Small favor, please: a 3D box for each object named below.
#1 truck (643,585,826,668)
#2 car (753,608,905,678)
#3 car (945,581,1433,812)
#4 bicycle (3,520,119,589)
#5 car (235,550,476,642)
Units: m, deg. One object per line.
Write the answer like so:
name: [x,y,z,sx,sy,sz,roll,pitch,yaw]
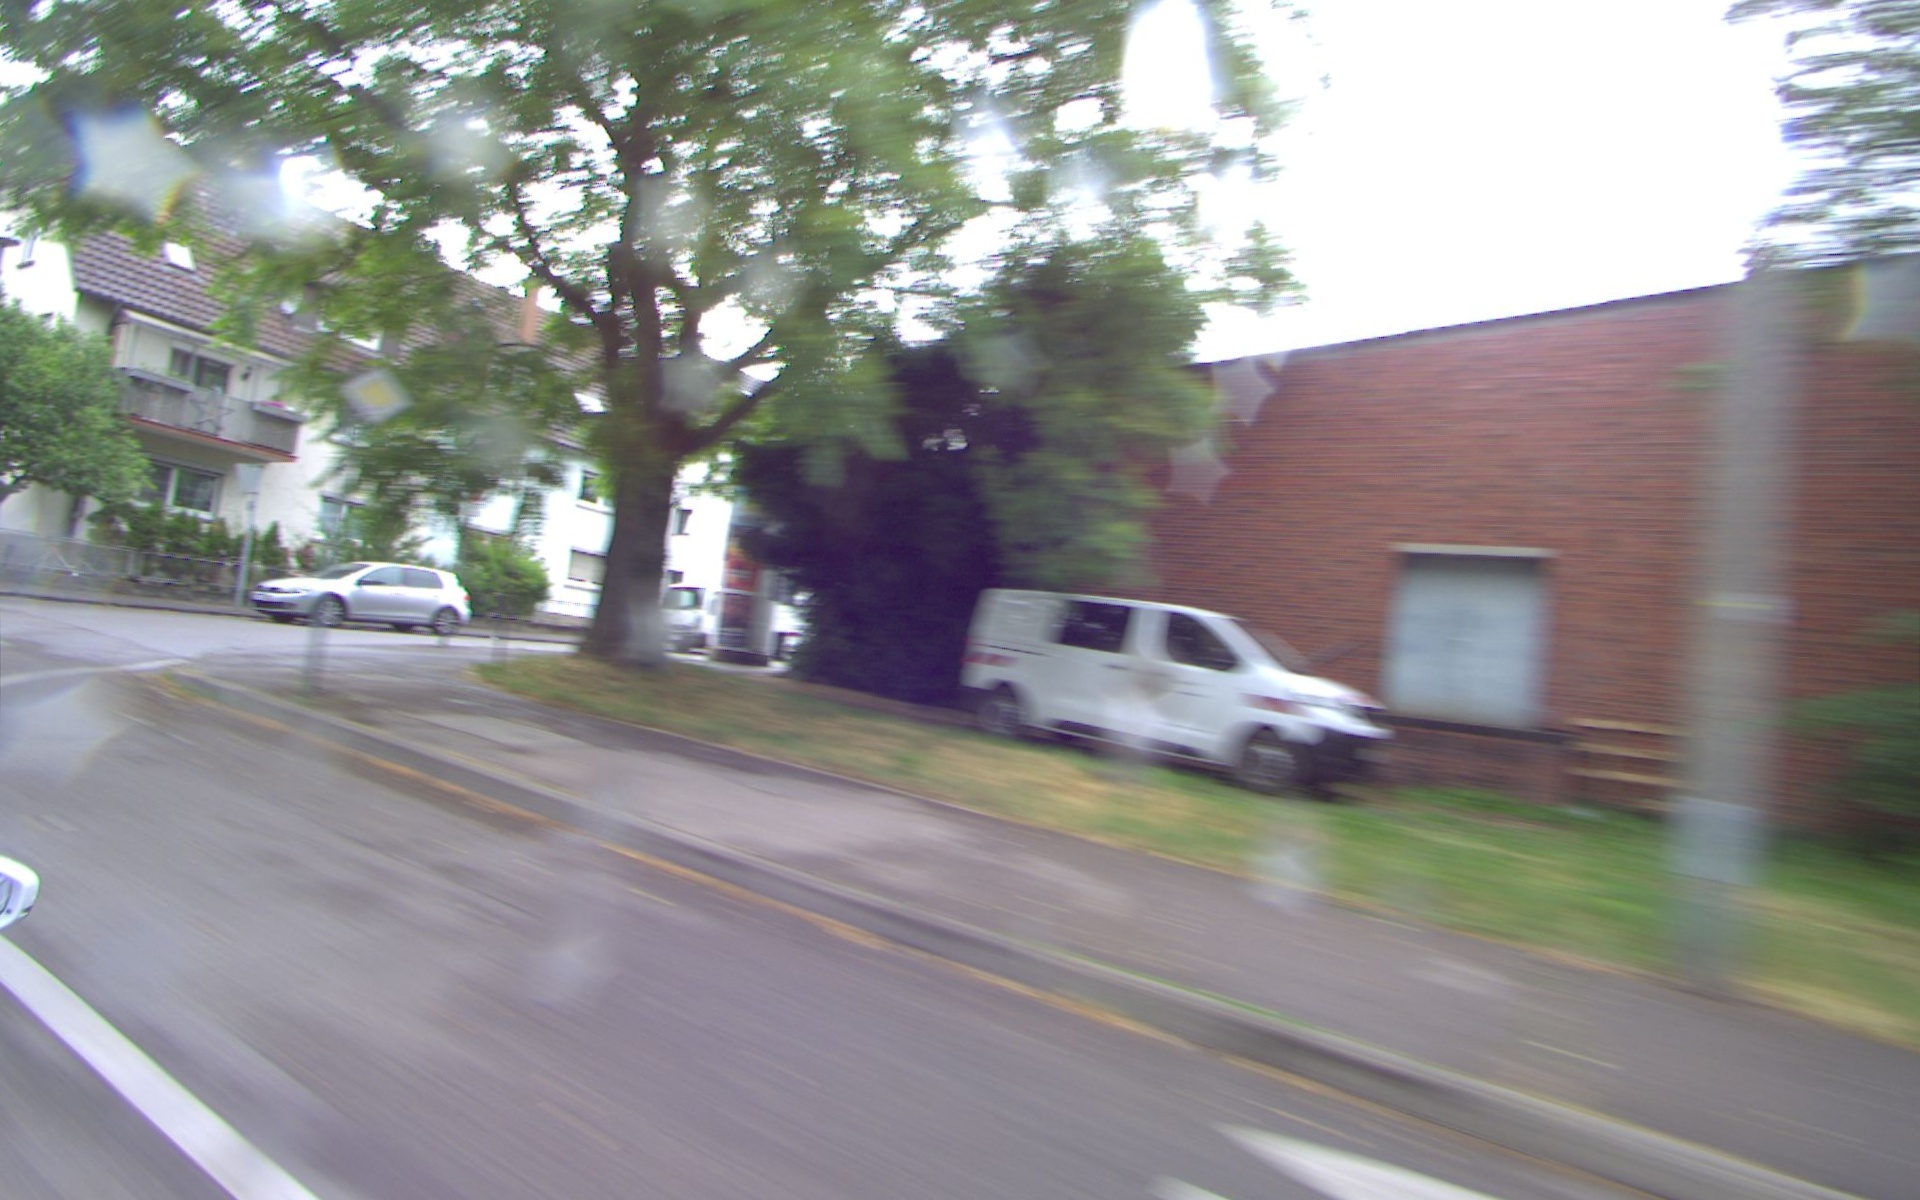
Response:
truck: [-6.861,0.895,31.445,1.968,2.083,5.839,2,-4,32]
car: [-3.385,1.199,26.901,1.675,1.438,4.362,5,-3,29]
car: [2.566,1.048,11.872,5.066,1.823,1.999,6,-5,35]
bicycle: [-17.889,-0.886,20.054,0.450,1.127,1.572,7,-2,35]
car: [-12.703,-0.032,21.417,1.675,1.438,3.998,5,-3,29]
